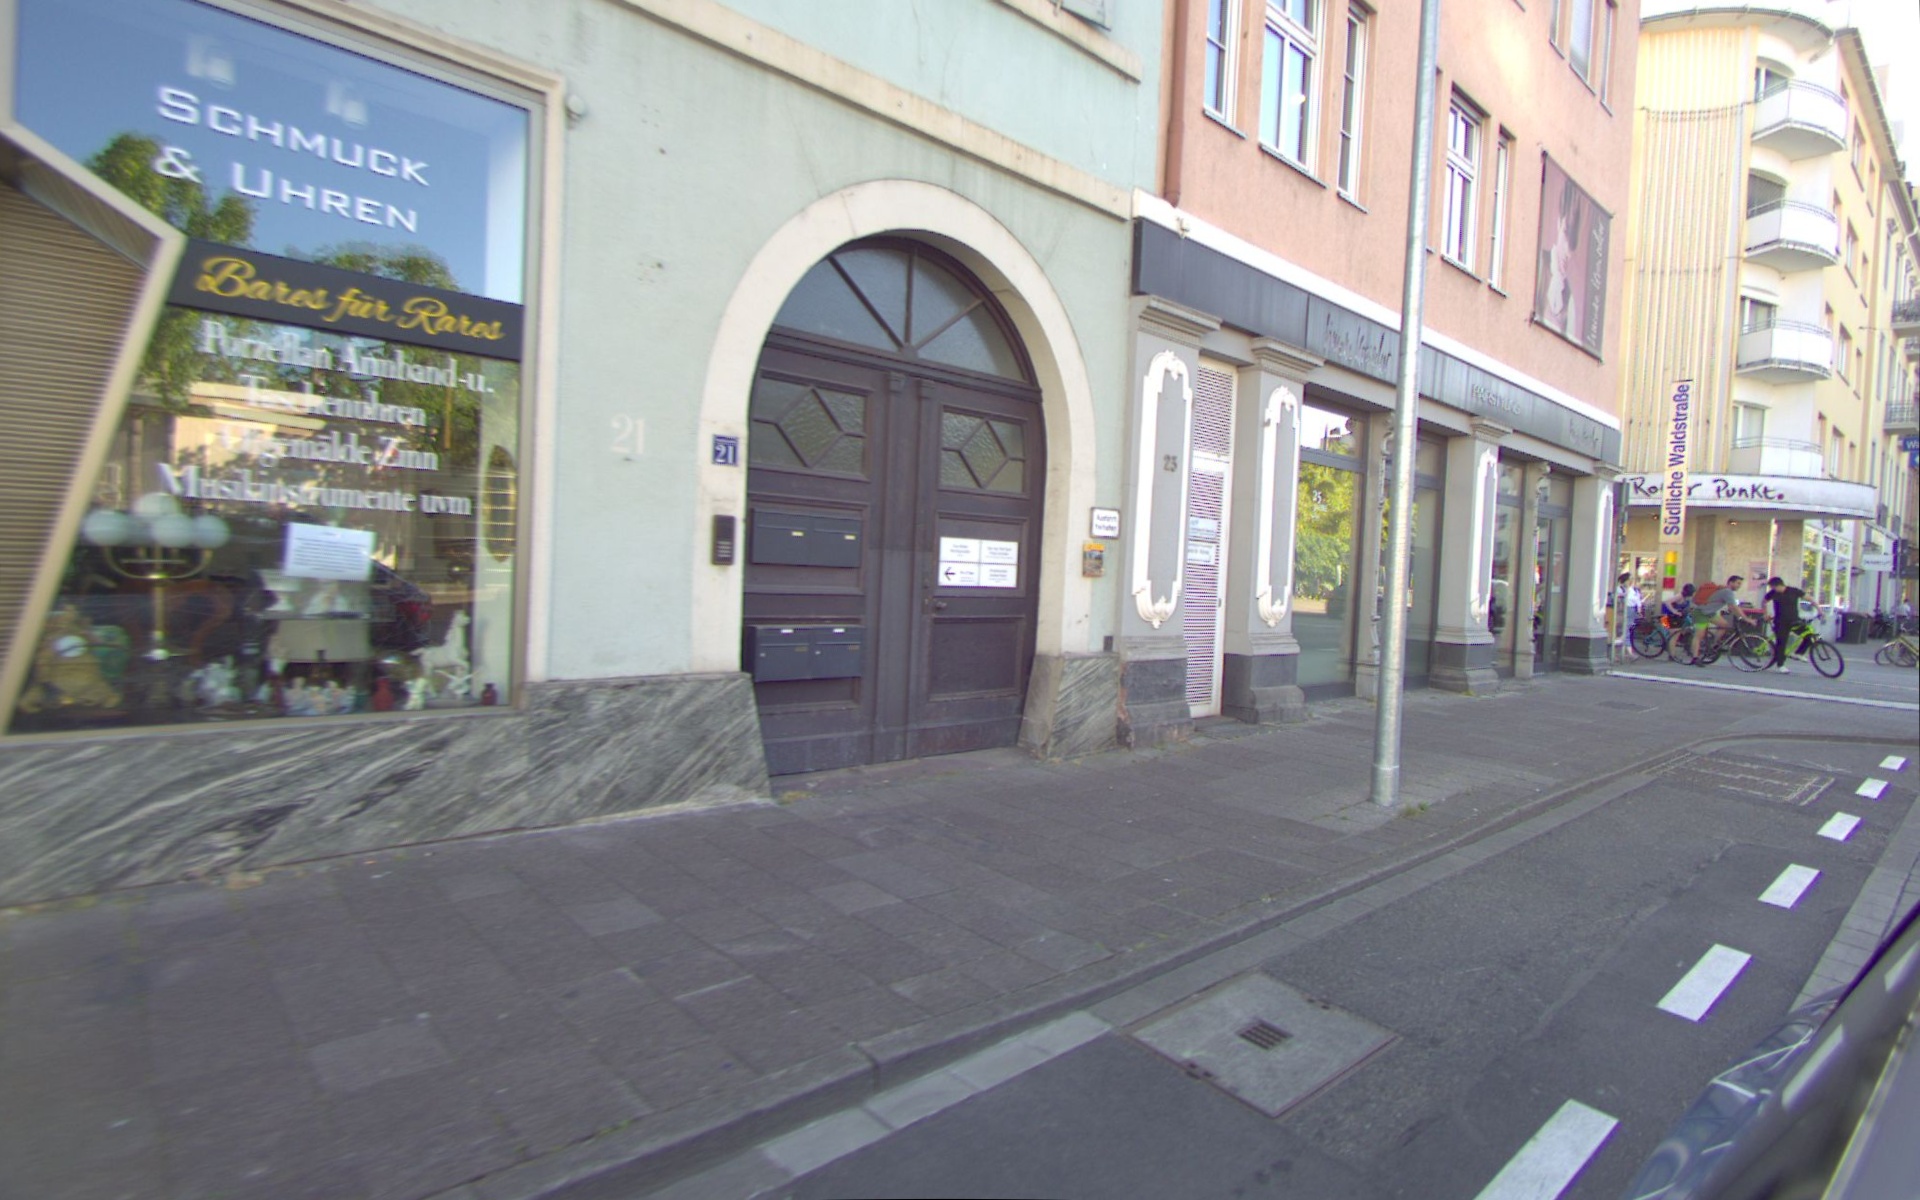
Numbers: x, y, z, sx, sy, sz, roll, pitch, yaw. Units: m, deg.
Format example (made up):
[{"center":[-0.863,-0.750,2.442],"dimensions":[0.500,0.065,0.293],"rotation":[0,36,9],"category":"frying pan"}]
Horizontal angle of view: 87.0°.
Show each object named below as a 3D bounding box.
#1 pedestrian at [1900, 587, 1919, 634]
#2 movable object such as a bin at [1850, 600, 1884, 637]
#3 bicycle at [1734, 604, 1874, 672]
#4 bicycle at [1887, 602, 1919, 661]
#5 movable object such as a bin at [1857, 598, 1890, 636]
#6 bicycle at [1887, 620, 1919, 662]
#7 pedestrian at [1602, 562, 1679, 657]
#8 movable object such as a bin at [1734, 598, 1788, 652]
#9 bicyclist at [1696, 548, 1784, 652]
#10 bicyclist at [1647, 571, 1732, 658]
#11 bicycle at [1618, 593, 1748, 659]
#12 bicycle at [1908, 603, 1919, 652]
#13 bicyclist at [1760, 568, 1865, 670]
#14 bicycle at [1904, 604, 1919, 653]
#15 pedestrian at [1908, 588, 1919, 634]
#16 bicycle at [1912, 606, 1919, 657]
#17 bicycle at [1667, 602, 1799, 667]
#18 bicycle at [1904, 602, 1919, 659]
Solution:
[{"center":[40.924,0.430,43.471],"dimensions":[0.671,1.977,0.605],"rotation":[4,2,45],"category":"pedestrian"},{"center":[30.425,0.601,33.931],"dimensions":[0.944,1.174,0.702],"rotation":[1,2,-42],"category":"movable object such as a bin"},{"center":[15.090,0.655,18.170],"dimensions":[0.548,1.032,1.921],"rotation":[2,3,-14],"category":"bicycle"},{"center":[21.323,0.725,21.792],"dimensions":[1.941,1.226,0.919],"rotation":[5,3,43],"category":"bicycle"},{"center":[31.692,0.575,35.121],"dimensions":[0.944,1.254,0.702],"rotation":[1,2,-42],"category":"movable object such as a bin"},{"center":[20.908,0.925,21.416],"dimensions":[1.842,0.841,0.730],"rotation":[5,3,43],"category":"bicycle"},{"center":[12.519,0.163,18.641],"dimensions":[0.751,1.679,0.817],"rotation":[2,1,-5],"category":"pedestrian"},{"center":[17.781,0.545,22.473],"dimensions":[0.610,1.126,0.809],"rotation":[1,3,-43],"category":"movable object such as a bin"},{"center":[13.961,-0.018,18.145],"dimensions":[1.135,1.783,0.743],"rotation":[4,2,36],"category":"bicyclist"},{"center":[14.035,0.261,19.500],"dimensions":[0.711,1.602,1.033],"rotation":[2,2,-20],"category":"bicyclist"},{"center":[13.965,0.480,19.620],"dimensions":[0.718,1.110,1.925],"rotation":[2,2,-20],"category":"bicycle"},{"center":[23.998,0.741,24.057],"dimensions":[0.703,1.164,2.026],"rotation":[1,3,-41],"category":"bicycle"},{"center":[15.085,0.312,17.944],"dimensions":[0.711,1.705,1.135],"rotation":[2,2,-15],"category":"bicyclist"},{"center":[24.674,0.779,24.879],"dimensions":[0.671,1.195,2.049],"rotation":[1,3,-41],"category":"bicycle"},{"center":[40.589,0.472,42.744],"dimensions":[0.693,1.930,0.891],"rotation":[4,2,45],"category":"pedestrian"},{"center":[23.134,0.787,23.088],"dimensions":[0.741,1.171,1.961],"rotation":[1,3,-41],"category":"bicycle"},{"center":[13.878,0.603,18.218],"dimensions":[1.813,1.006,0.557],"rotation":[4,2,38],"category":"bicycle"},{"center":[22.234,0.739,22.227],"dimensions":[2.137,1.259,0.699],"rotation":[5,3,44],"category":"bicycle"}]
